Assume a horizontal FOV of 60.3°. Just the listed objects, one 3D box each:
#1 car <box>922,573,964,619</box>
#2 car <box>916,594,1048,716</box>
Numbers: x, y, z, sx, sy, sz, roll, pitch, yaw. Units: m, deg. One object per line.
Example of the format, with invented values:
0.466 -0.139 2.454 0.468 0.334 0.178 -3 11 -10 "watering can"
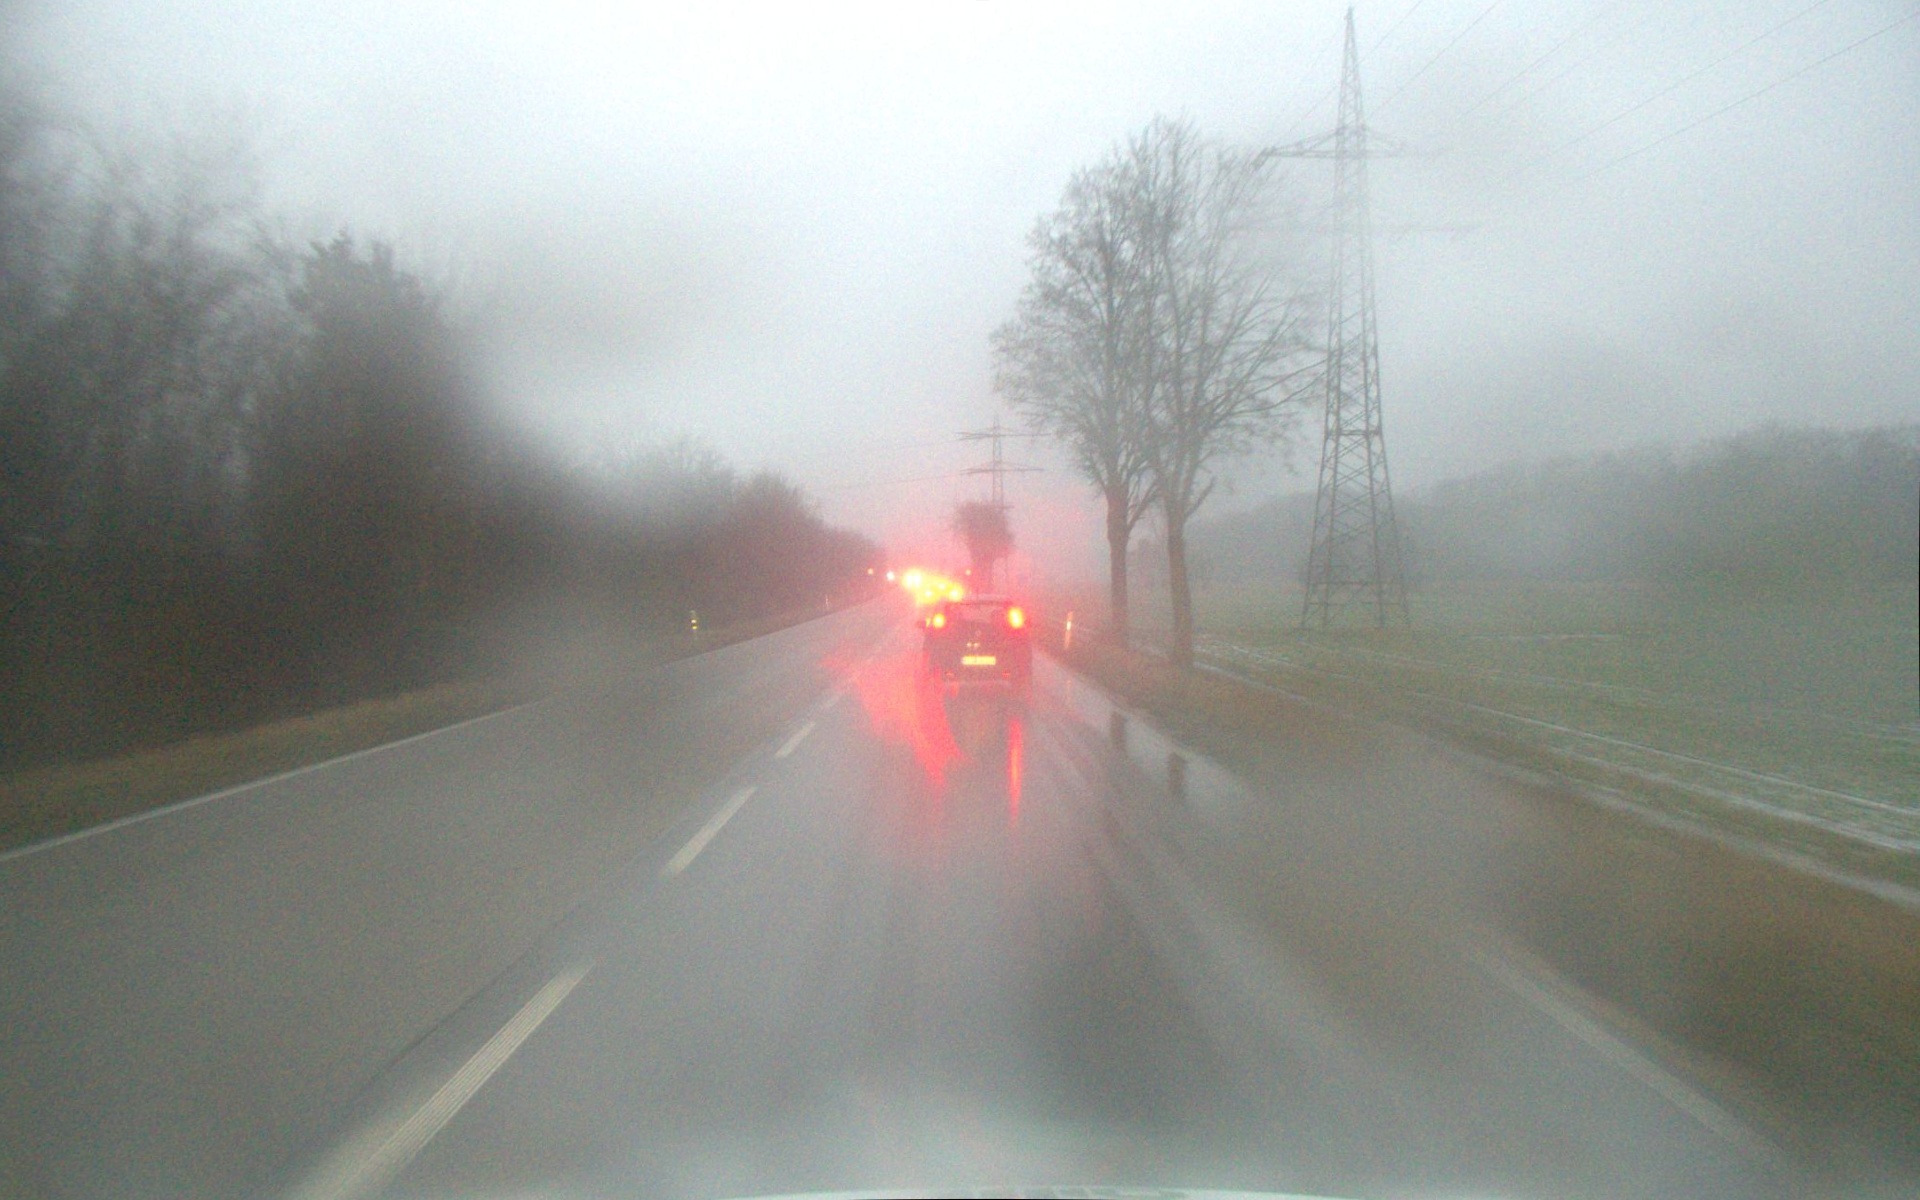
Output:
-0.866 -0.229 83.164 1.953 2.048 4.001 2 3 -1 "car"
0.304 0.811 26.610 1.953 1.782 3.999 0 1 -1 "car"
